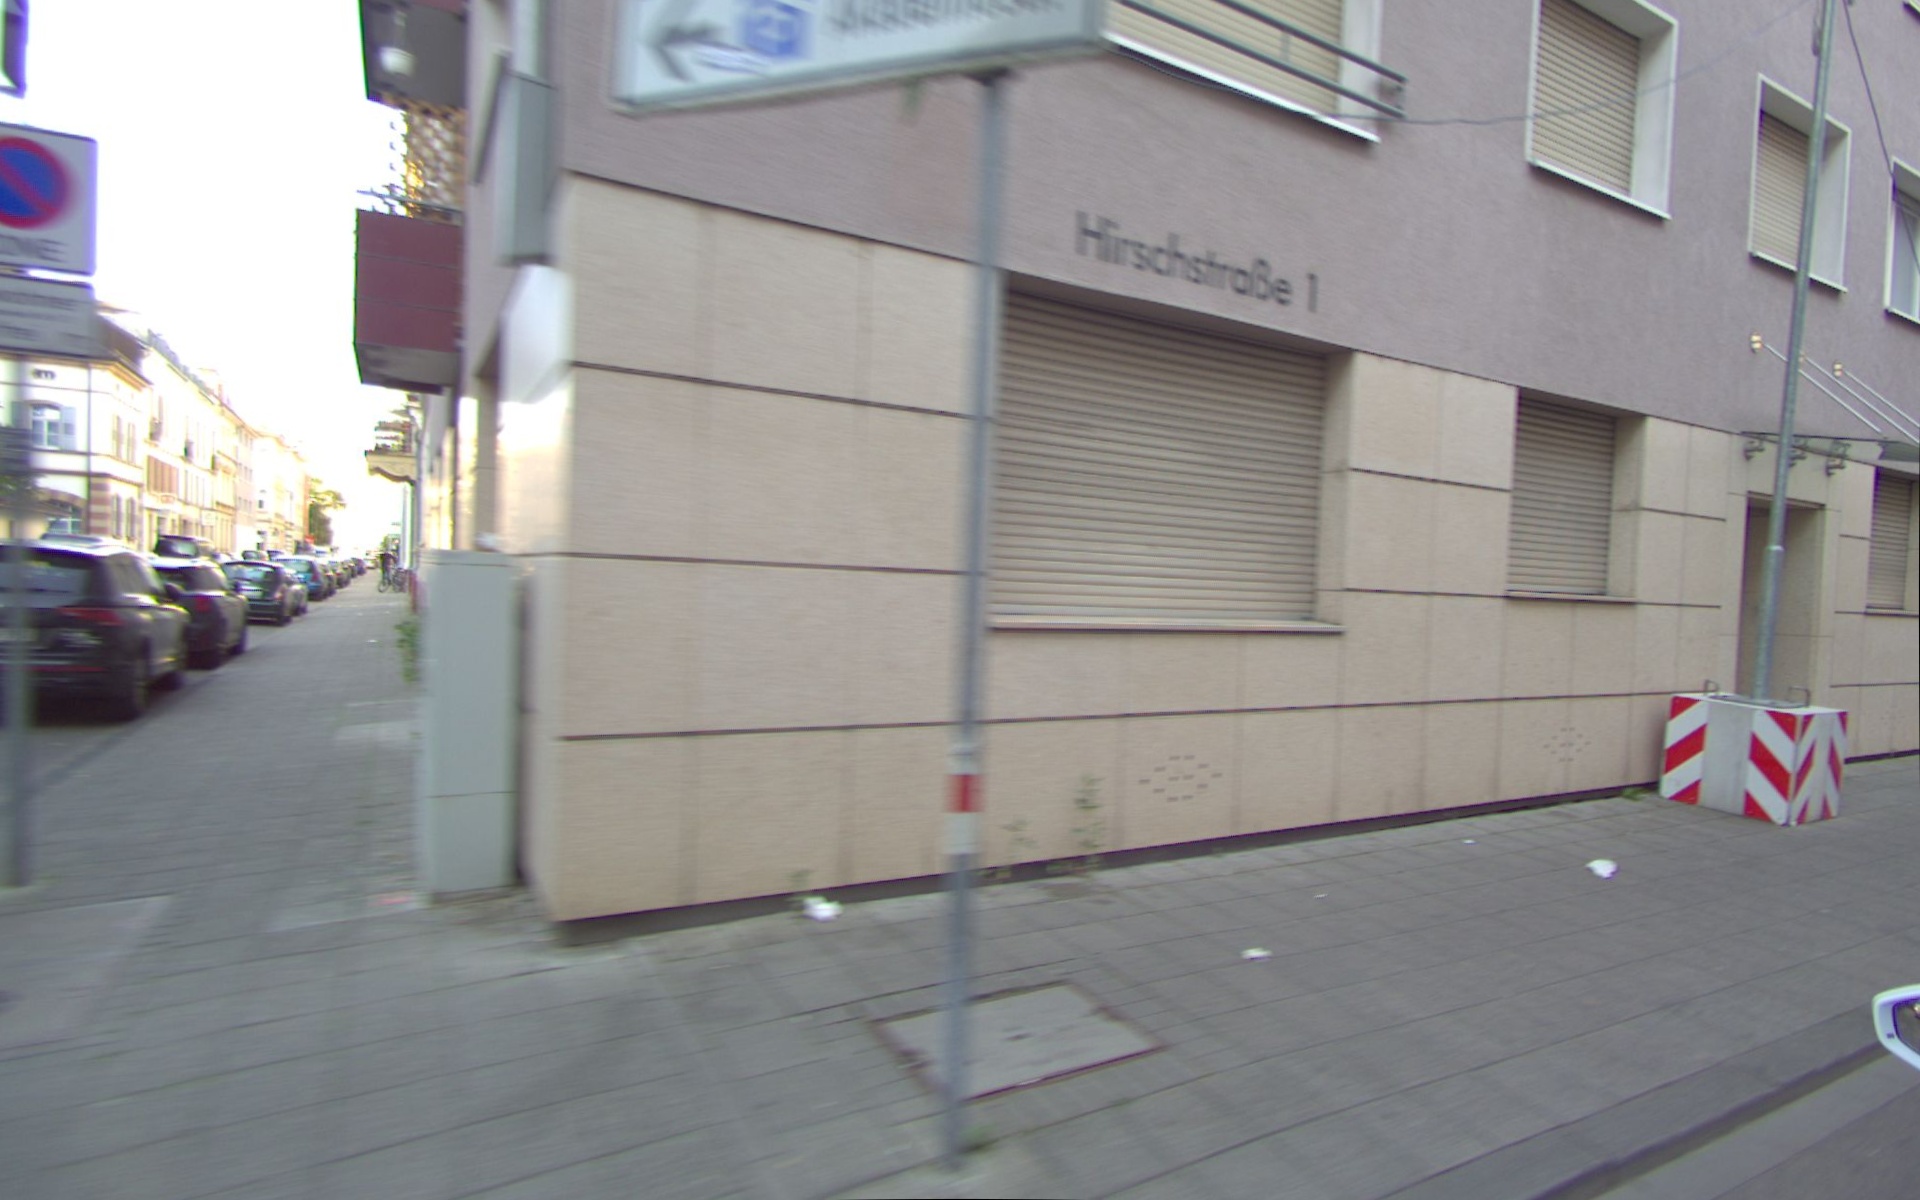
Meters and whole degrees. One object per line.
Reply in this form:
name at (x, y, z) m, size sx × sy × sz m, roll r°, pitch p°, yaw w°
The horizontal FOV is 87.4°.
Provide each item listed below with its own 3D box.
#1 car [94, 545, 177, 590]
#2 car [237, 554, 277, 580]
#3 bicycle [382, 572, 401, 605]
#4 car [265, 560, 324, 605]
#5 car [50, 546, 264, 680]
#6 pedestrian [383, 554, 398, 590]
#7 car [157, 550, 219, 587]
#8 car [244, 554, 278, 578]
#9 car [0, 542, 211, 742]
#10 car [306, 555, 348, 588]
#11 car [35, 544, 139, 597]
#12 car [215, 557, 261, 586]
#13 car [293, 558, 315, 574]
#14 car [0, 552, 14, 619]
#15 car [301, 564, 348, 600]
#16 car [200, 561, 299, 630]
car at (-30.725, -1.198, 37.529) m, size 1.693 × 1.477 × 3.942 m, roll 4°, pitch 0°, yaw -30°
car at (-49.392, -2.306, 70.637) m, size 1.978 × 1.682 × 3.965 m, roll 2°, pitch 1°, yaw -32°
bicycle at (-23.560, -0.493, 41.628) m, size 0.653 × 1.304 × 2.413 m, roll 1°, pitch 0°, yaw -29°
car at (-24.463, -0.657, 37.011) m, size 1.543 × 1.460 × 3.345 m, roll 4°, pitch 0°, yaw -30°
car at (-11.677, 0.138, 14.892) m, size 1.800 × 1.656 × 3.942 m, roll 4°, pitch 0°, yaw -30°
pedestrian at (-28.538, -1.403, 50.340) m, size 0.602 × 1.728 × 0.565 m, roll 1°, pitch 3°, yaw -33°
car at (-35.465, -1.444, 46.221) m, size 1.693 × 1.477 × 3.942 m, roll 4°, pitch 0°, yaw -30°
car at (-54.942, -2.668, 79.006) m, size 1.978 × 1.721 × 3.965 m, roll 2°, pitch 1°, yaw -32°
car at (-8.970, 0.294, 10.061) m, size 1.800 × 1.656 × 3.942 m, roll 4°, pitch 0°, yaw -30°
car at (-31.322, -1.423, 49.775) m, size 1.543 × 1.460 × 3.345 m, roll 4°, pitch 0°, yaw -30°
car at (-27.892, -0.934, 32.221) m, size 1.693 × 1.477 × 3.942 m, roll 4°, pitch 0°, yaw -30°
car at (-41.364, -1.652, 57.608) m, size 1.693 × 1.477 × 3.942 m, roll 4°, pitch 0°, yaw -30°
car at (-71.443, -3.707, 109.404) m, size 1.693 × 1.622 × 3.942 m, roll 4°, pitch 0°, yaw -30°
car at (-21.464, -0.335, 20.856) m, size 1.693 × 1.477 × 3.942 m, roll 4°, pitch 0°, yaw -30°
car at (-28.569, -0.816, 45.229) m, size 1.543 × 1.460 × 3.345 m, roll 4°, pitch 0°, yaw -30°
car at (-16.857, -0.136, 23.958) m, size 1.543 × 1.460 × 3.346 m, roll 4°, pitch 0°, yaw -30°
